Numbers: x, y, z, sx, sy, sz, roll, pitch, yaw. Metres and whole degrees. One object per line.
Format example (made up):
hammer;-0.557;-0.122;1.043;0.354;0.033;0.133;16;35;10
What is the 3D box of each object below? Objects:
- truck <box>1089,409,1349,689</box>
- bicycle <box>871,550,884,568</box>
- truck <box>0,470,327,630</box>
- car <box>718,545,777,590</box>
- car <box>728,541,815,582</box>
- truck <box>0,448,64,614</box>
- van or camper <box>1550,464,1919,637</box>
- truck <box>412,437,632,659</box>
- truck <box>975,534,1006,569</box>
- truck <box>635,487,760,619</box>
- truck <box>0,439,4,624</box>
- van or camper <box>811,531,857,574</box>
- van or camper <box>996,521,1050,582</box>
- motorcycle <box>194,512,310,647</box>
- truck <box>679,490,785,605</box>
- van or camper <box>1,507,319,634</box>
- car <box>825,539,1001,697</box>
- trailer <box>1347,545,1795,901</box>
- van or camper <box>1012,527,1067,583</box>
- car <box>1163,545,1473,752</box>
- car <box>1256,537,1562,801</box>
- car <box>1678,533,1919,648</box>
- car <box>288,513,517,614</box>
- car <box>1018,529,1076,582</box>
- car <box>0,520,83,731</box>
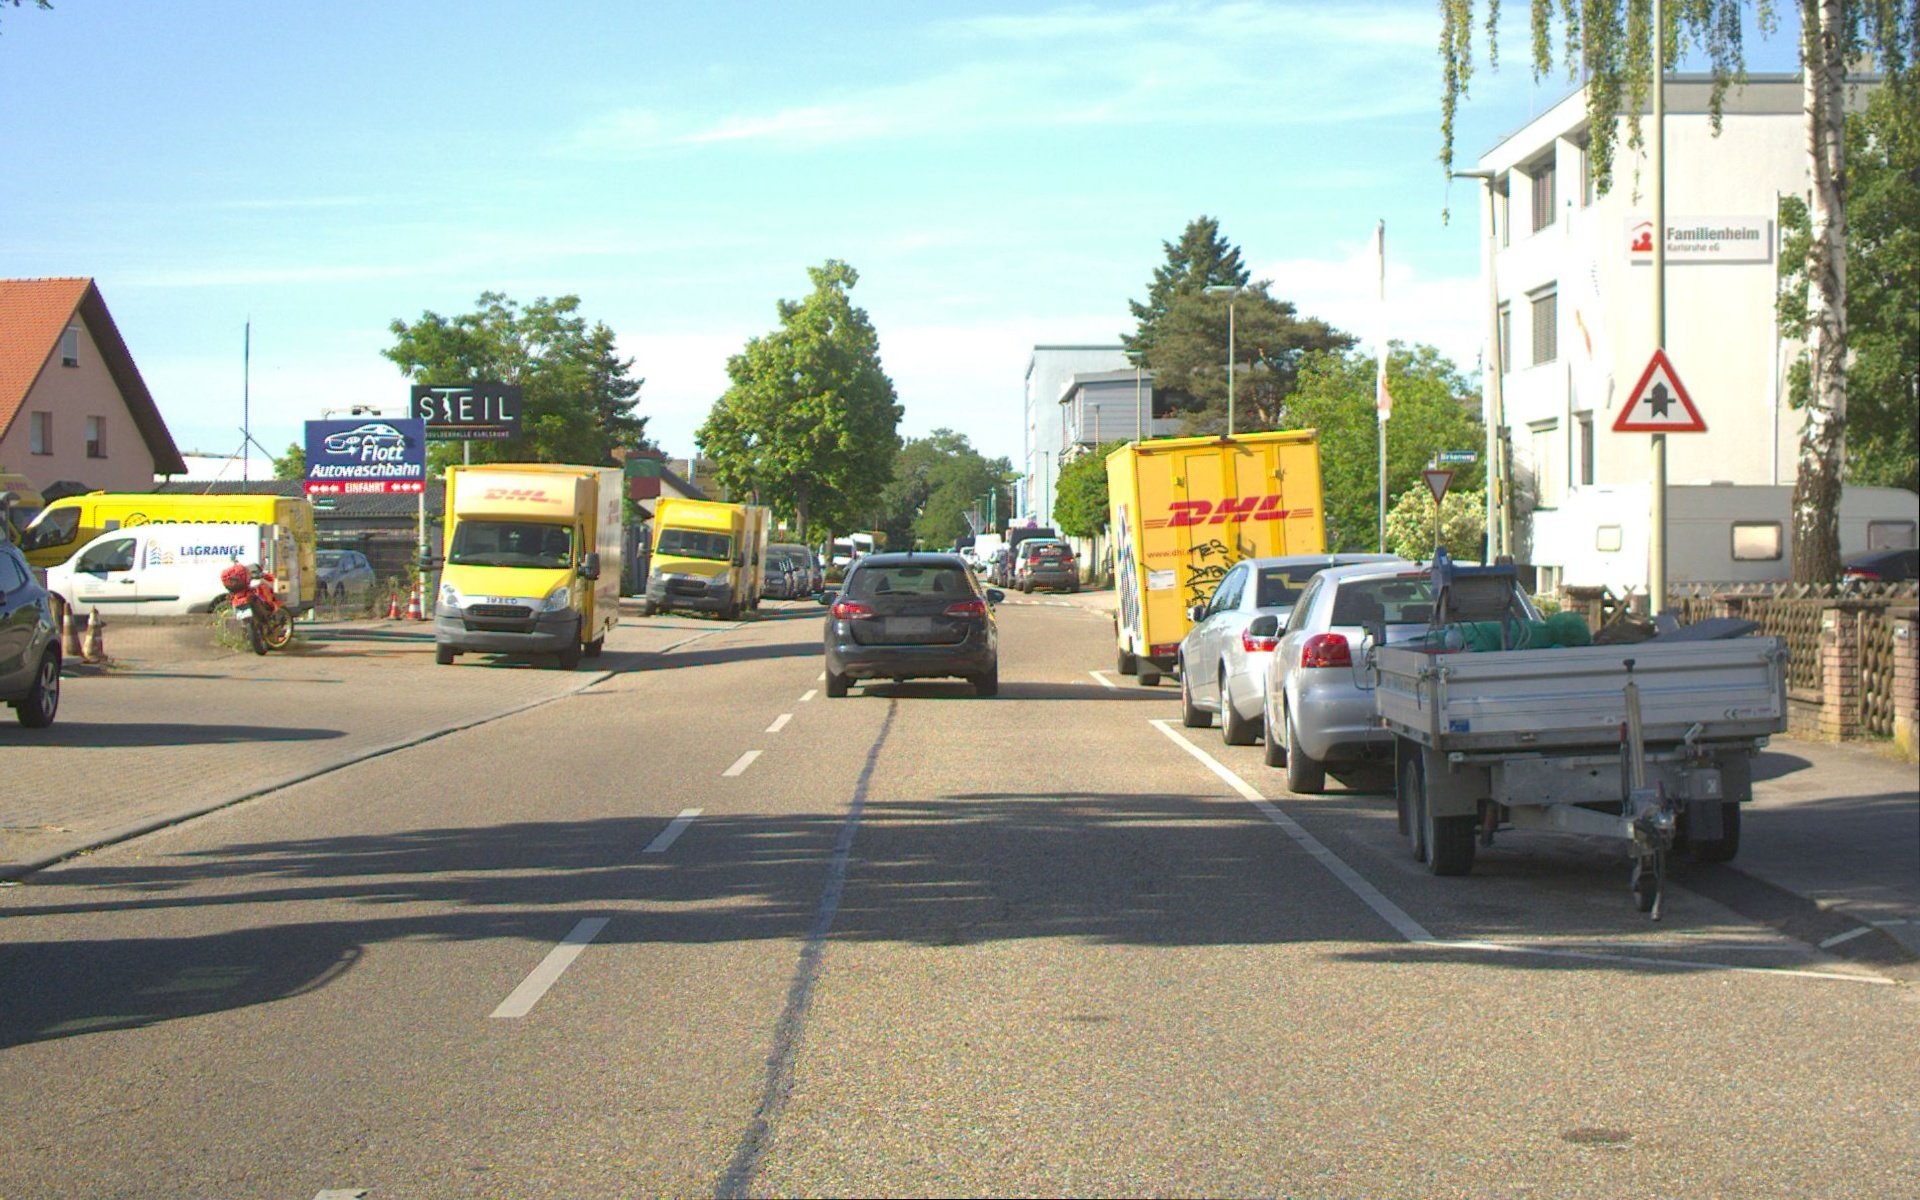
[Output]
truck;2.927;-0.590;40.532;2.402;2.926;7.016;-2;1;0
bicycle;-5.303;-2.671;221.587;0.829;1.149;2.941;0;1;-2
truck;-14.066;-0.887;58.852;5.924;2.559;2.223;2;1;12
car;-6.832;-1.067;110.907;1.756;1.398;4.558;0;1;-2
car;-7.034;-1.443;127.831;1.875;1.480;4.045;-2;2;-24
truck;-19.812;-1.261;63.313;6.095;2.962;2.172;0;1;13
van or camper;12.093;-0.761;52.469;5.812;2.532;2.290;-1;1;-24
truck;-6.344;-0.765;50.711;2.402;2.973;7.246;2;1;-1
truck;1.990;-3.208;225.590;1.993;2.280;6.956;0;1;0
truck;-6.217;-1.122;82.133;2.403;2.973;6.374;2;1;0
truck;-19.118;-1.212;57.079;5.671;3.109;2.522;2;1;11
van or camper;-7.026;-2.656;191.050;2.323;2.354;6.529;0;1;-4
van or camper;2.377;-1.863;131.188;1.993;2.302;4.000;0;1;0
motorcycle;-10.334;-0.325;50.298;0.781;1.866;3.040;3;2;4
truck;-6.025;-1.400;91.570;2.193;2.892;6.439;2;1;1
van or camper;-12.974;-0.487;55.946;4.544;2.007;2.250;0;1;7
car;-0.446;0.148;35.840;1.712;1.527;3.687;0;1;1
trailer;2.829;0.507;16.516;1.627;1.533;3.198;0;1;1
van or camper;2.909;-1.643;126.073;1.919;2.012;4.080;0;1;0
car;2.812;0.325;27.959;1.783;1.537;4.538;0;1;-3
car;2.820;0.370;22.316;1.674;1.537;4.043;1;1;3
car;12.568;-0.162;49.657;3.986;1.612;1.811;-1;1;-23
car;-11.357;-0.747;70.151;4.249;2.007;1.868;0;1;9
car;3.039;-1.563;120.755;1.919;1.819;4.080;0;1;0
car;-8.751;0.164;28.459;1.861;1.708;4.277;3;1;-1
